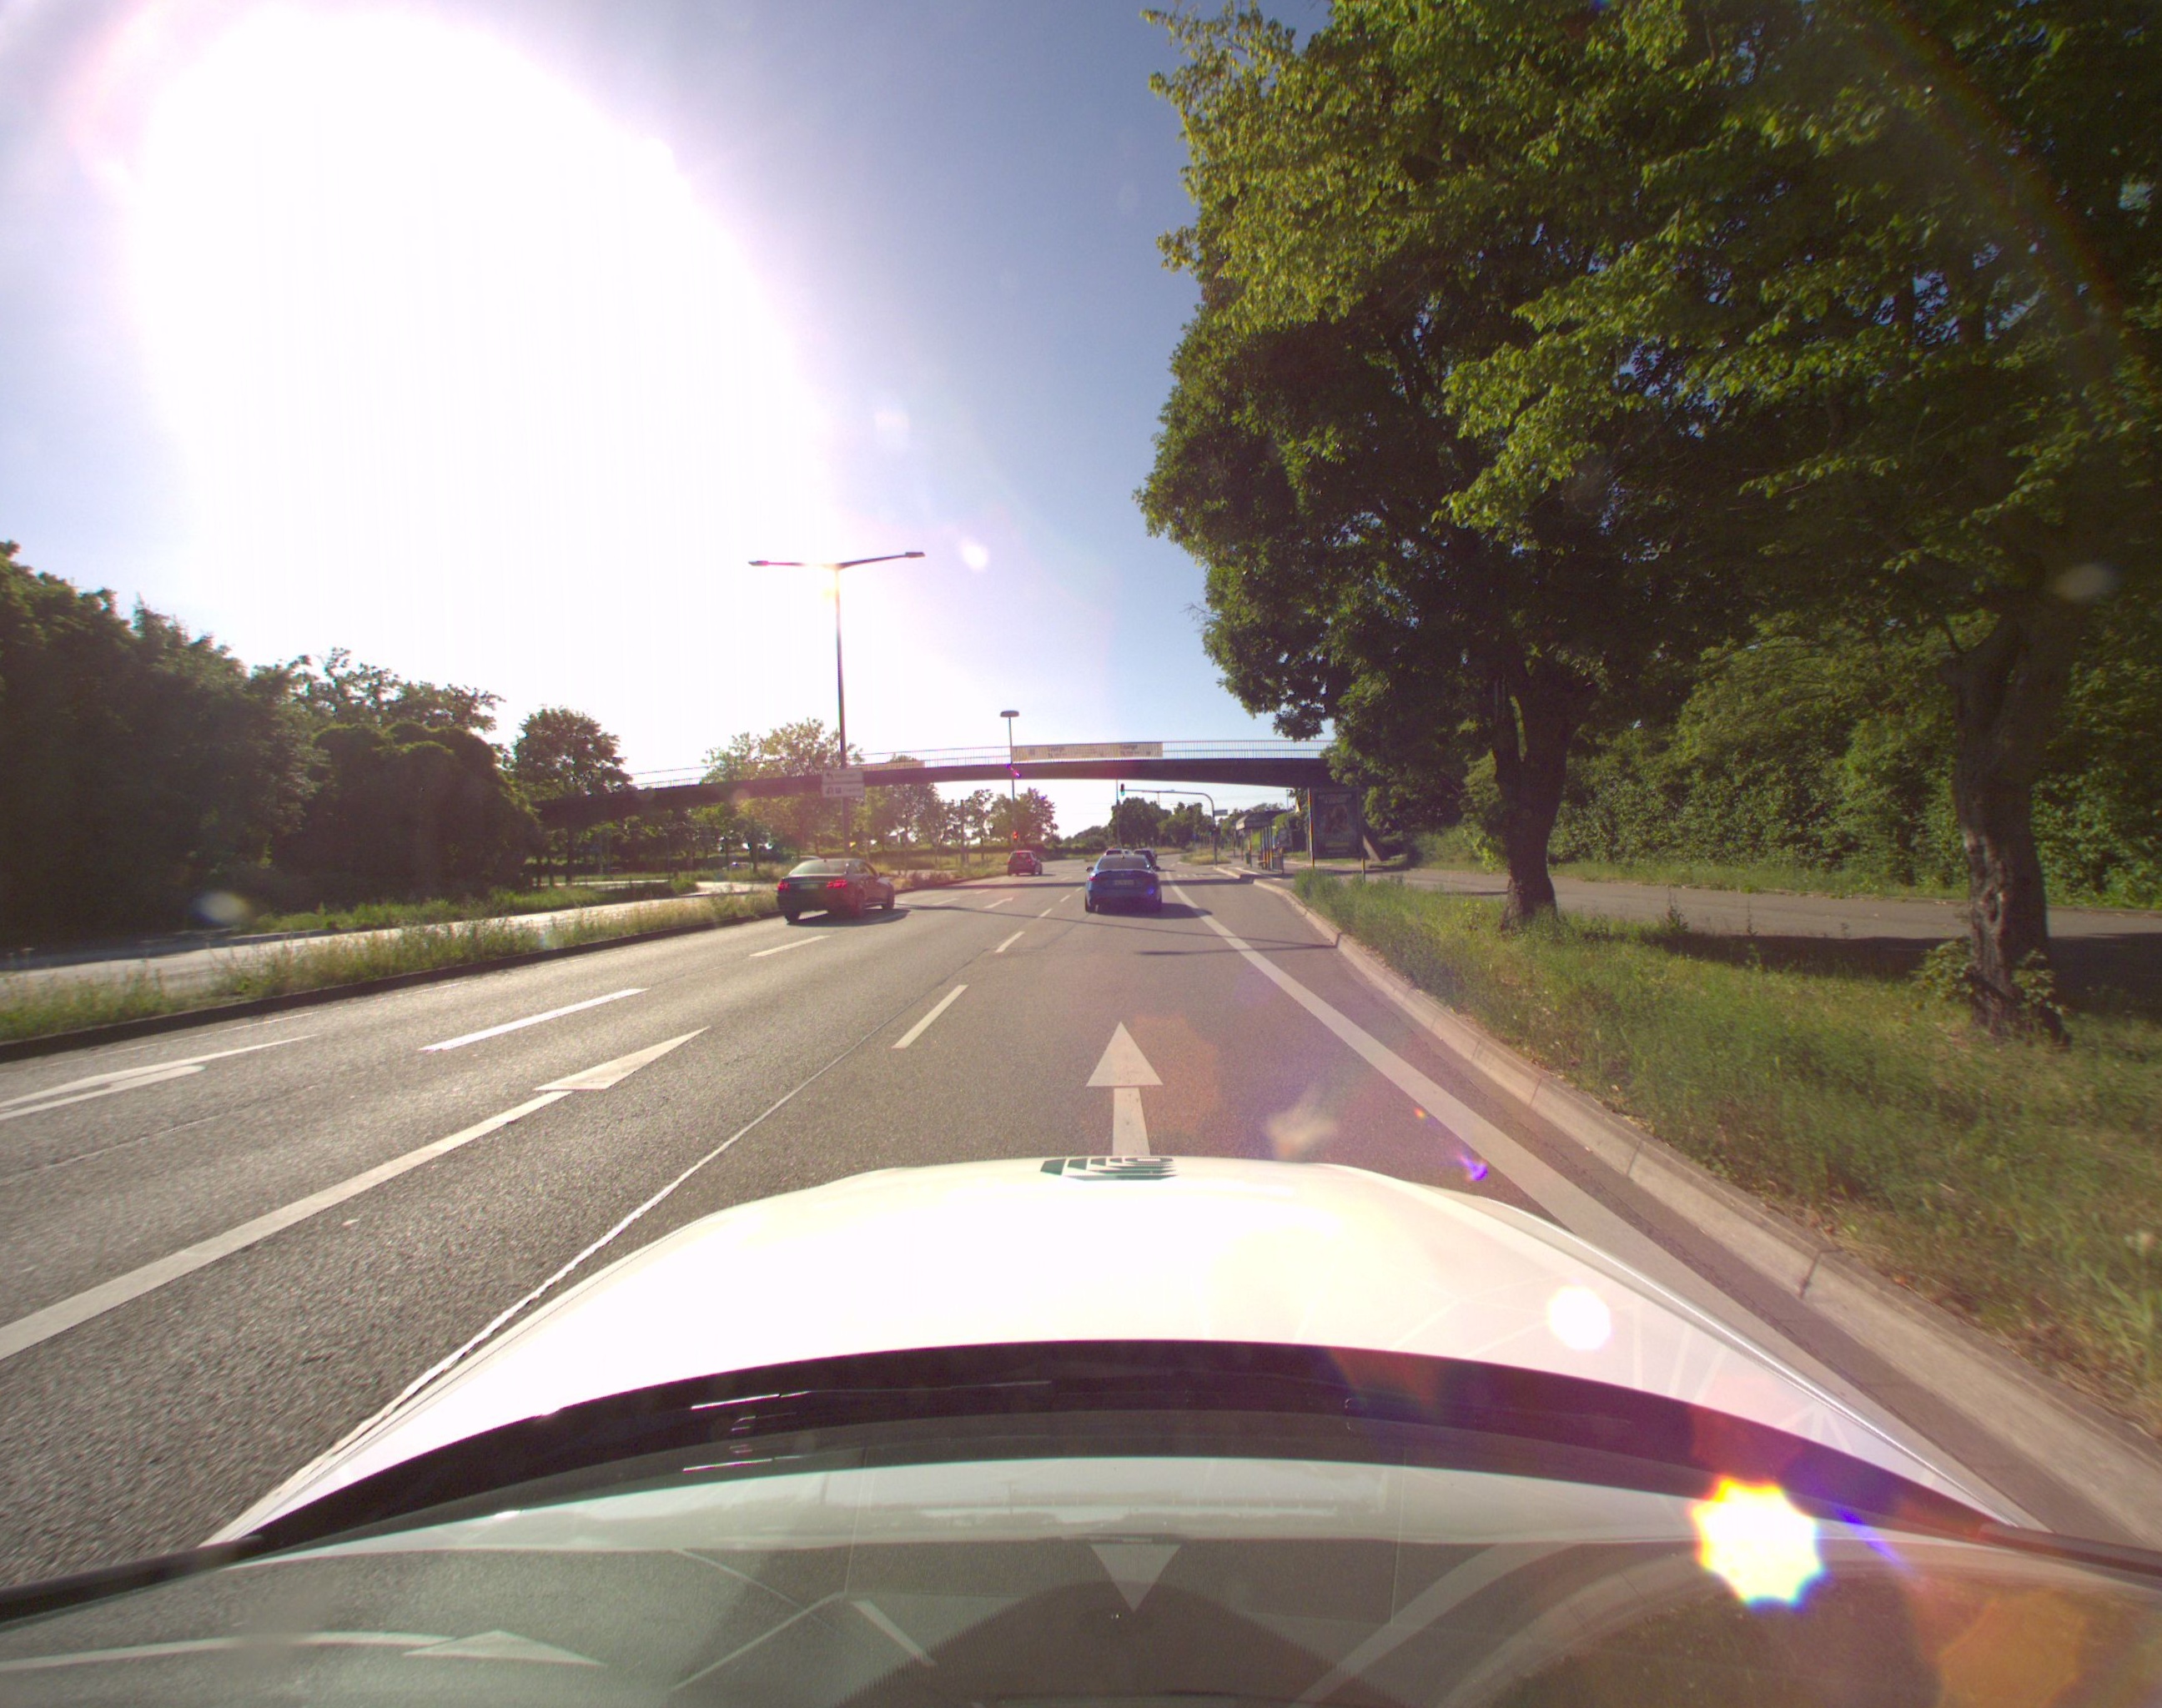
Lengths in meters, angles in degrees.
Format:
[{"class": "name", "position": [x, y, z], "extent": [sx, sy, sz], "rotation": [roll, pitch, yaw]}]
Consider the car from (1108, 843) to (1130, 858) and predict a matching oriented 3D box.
[{"class": "car", "position": [3.925, -0.309, 84.194], "extent": [1.878, 1.454, 4.523], "rotation": [-2, 0, -2]}]

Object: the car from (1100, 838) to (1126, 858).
[{"class": "car", "position": [2.638, -0.470, 68.333], "extent": [1.705, 1.598, 4.217], "rotation": [-2, 0, -4]}]

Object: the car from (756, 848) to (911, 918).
[{"class": "car", "position": [-6.198, 0.653, 21.117], "extent": [1.948, 1.483, 4.928], "rotation": [-2, 0, 7]}]

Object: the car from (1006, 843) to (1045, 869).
[{"class": "car", "position": [-3.548, 0.089, 52.471], "extent": [1.787, 1.555, 3.737], "rotation": [-2, 0, 7]}]

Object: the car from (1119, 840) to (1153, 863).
[{"class": "car", "position": [3.714, -0.188, 55.446], "extent": [1.878, 1.454, 4.523], "rotation": [-2, 0, -2]}]

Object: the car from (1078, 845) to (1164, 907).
[{"class": "car", "position": [0.943, 0.512, 21.275], "extent": [1.878, 1.406, 4.221], "rotation": [-2, 0, -2]}]

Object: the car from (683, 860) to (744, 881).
[{"class": "car", "position": [-30.501, 1.375, 67.639], "extent": [4.272, 1.650, 2.009], "rotation": [-2, 0, 18]}]

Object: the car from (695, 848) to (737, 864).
[{"class": "car", "position": [-50.051, 0.313, 111.677], "extent": [4.769, 2.013, 2.000], "rotation": [-2, 0, 1]}]
